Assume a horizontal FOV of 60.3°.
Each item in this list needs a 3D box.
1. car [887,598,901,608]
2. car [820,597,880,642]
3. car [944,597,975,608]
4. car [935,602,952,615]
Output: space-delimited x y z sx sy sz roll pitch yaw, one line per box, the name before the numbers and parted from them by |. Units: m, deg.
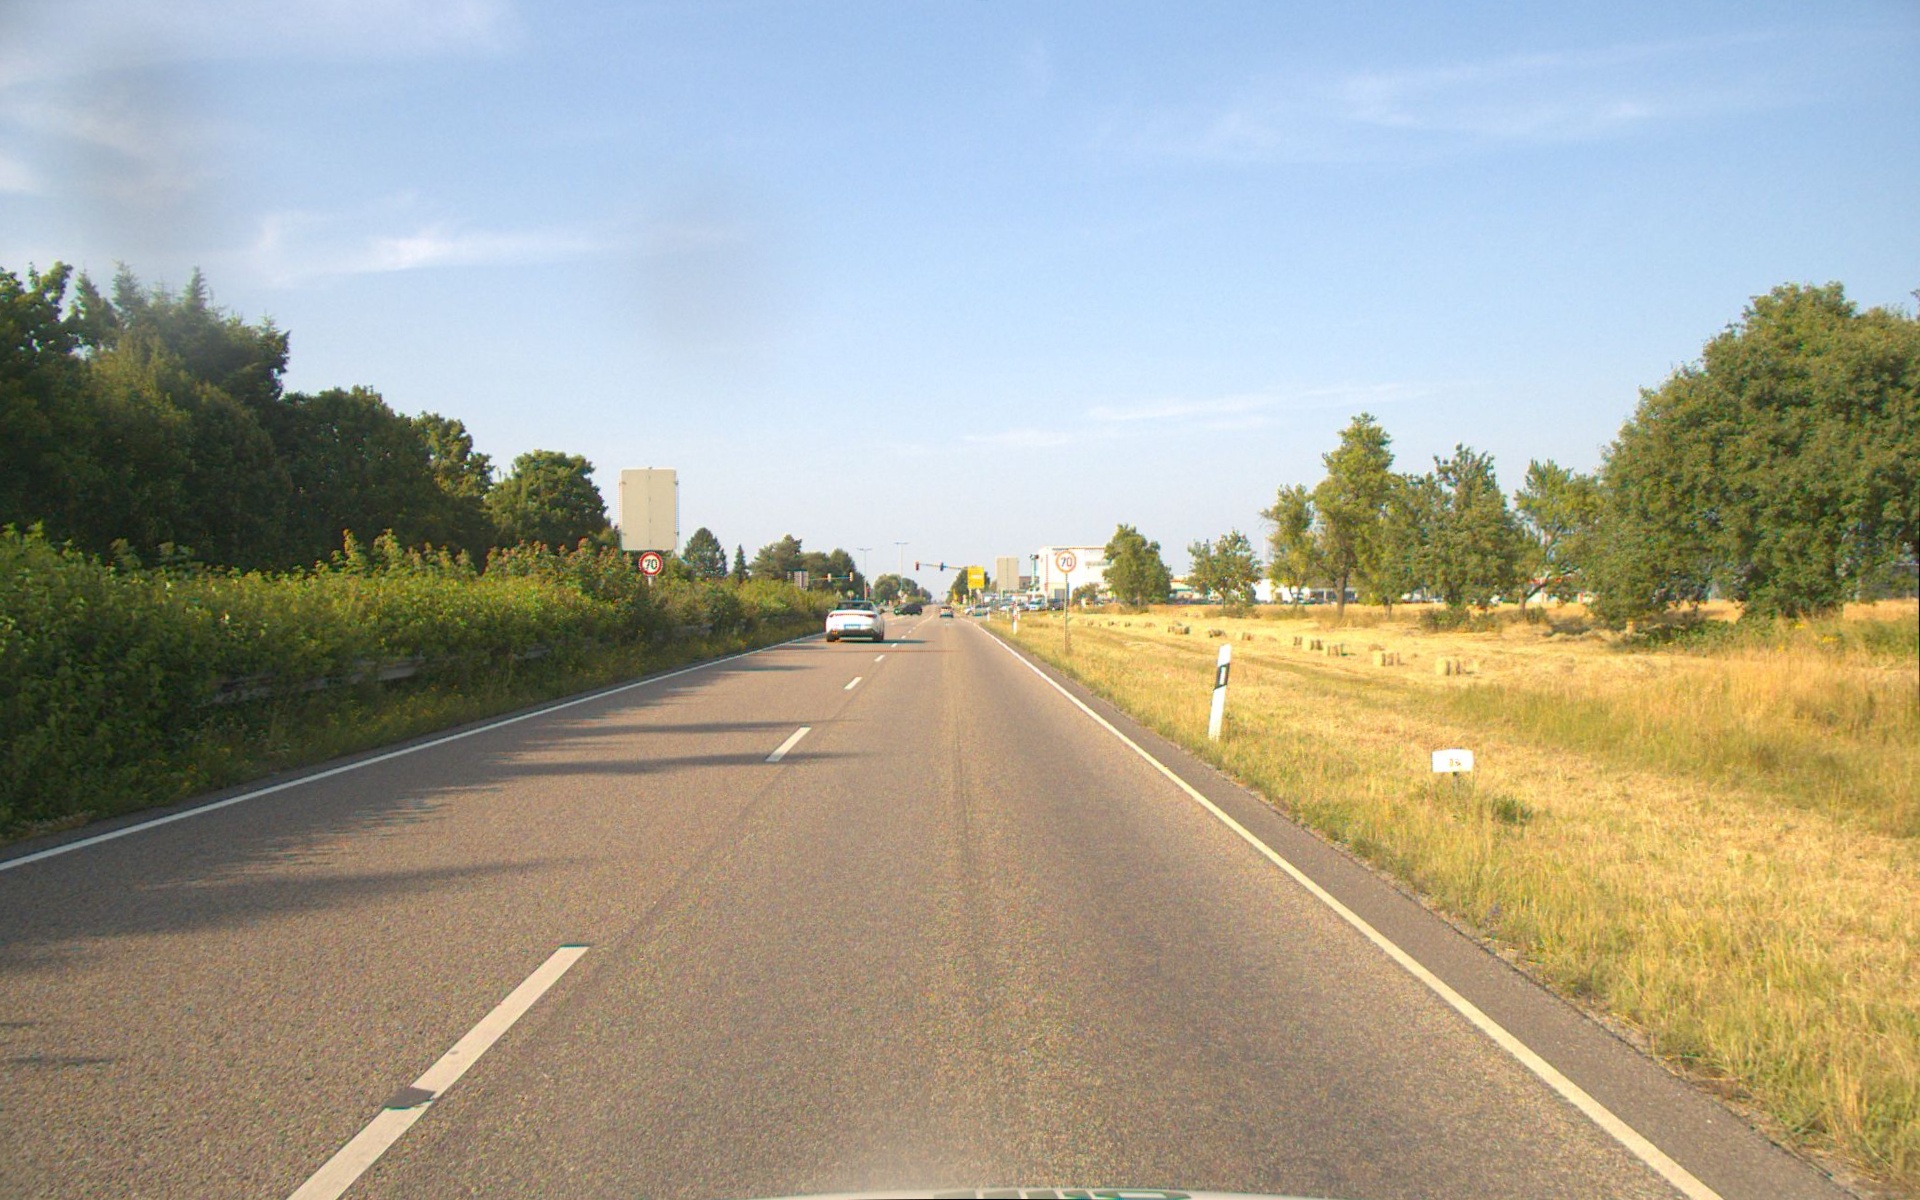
car | -9.705 0.498 242.803 1.908 1.432 4.000 0 0 0
car | -3.707 0.630 56.216 1.871 1.447 3.999 0 0 -1
car | -0.009 0.362 231.358 3.929 1.432 1.942 0 0 -21
car | -2.002 1.058 202.213 1.953 1.512 3.999 0 0 -1
